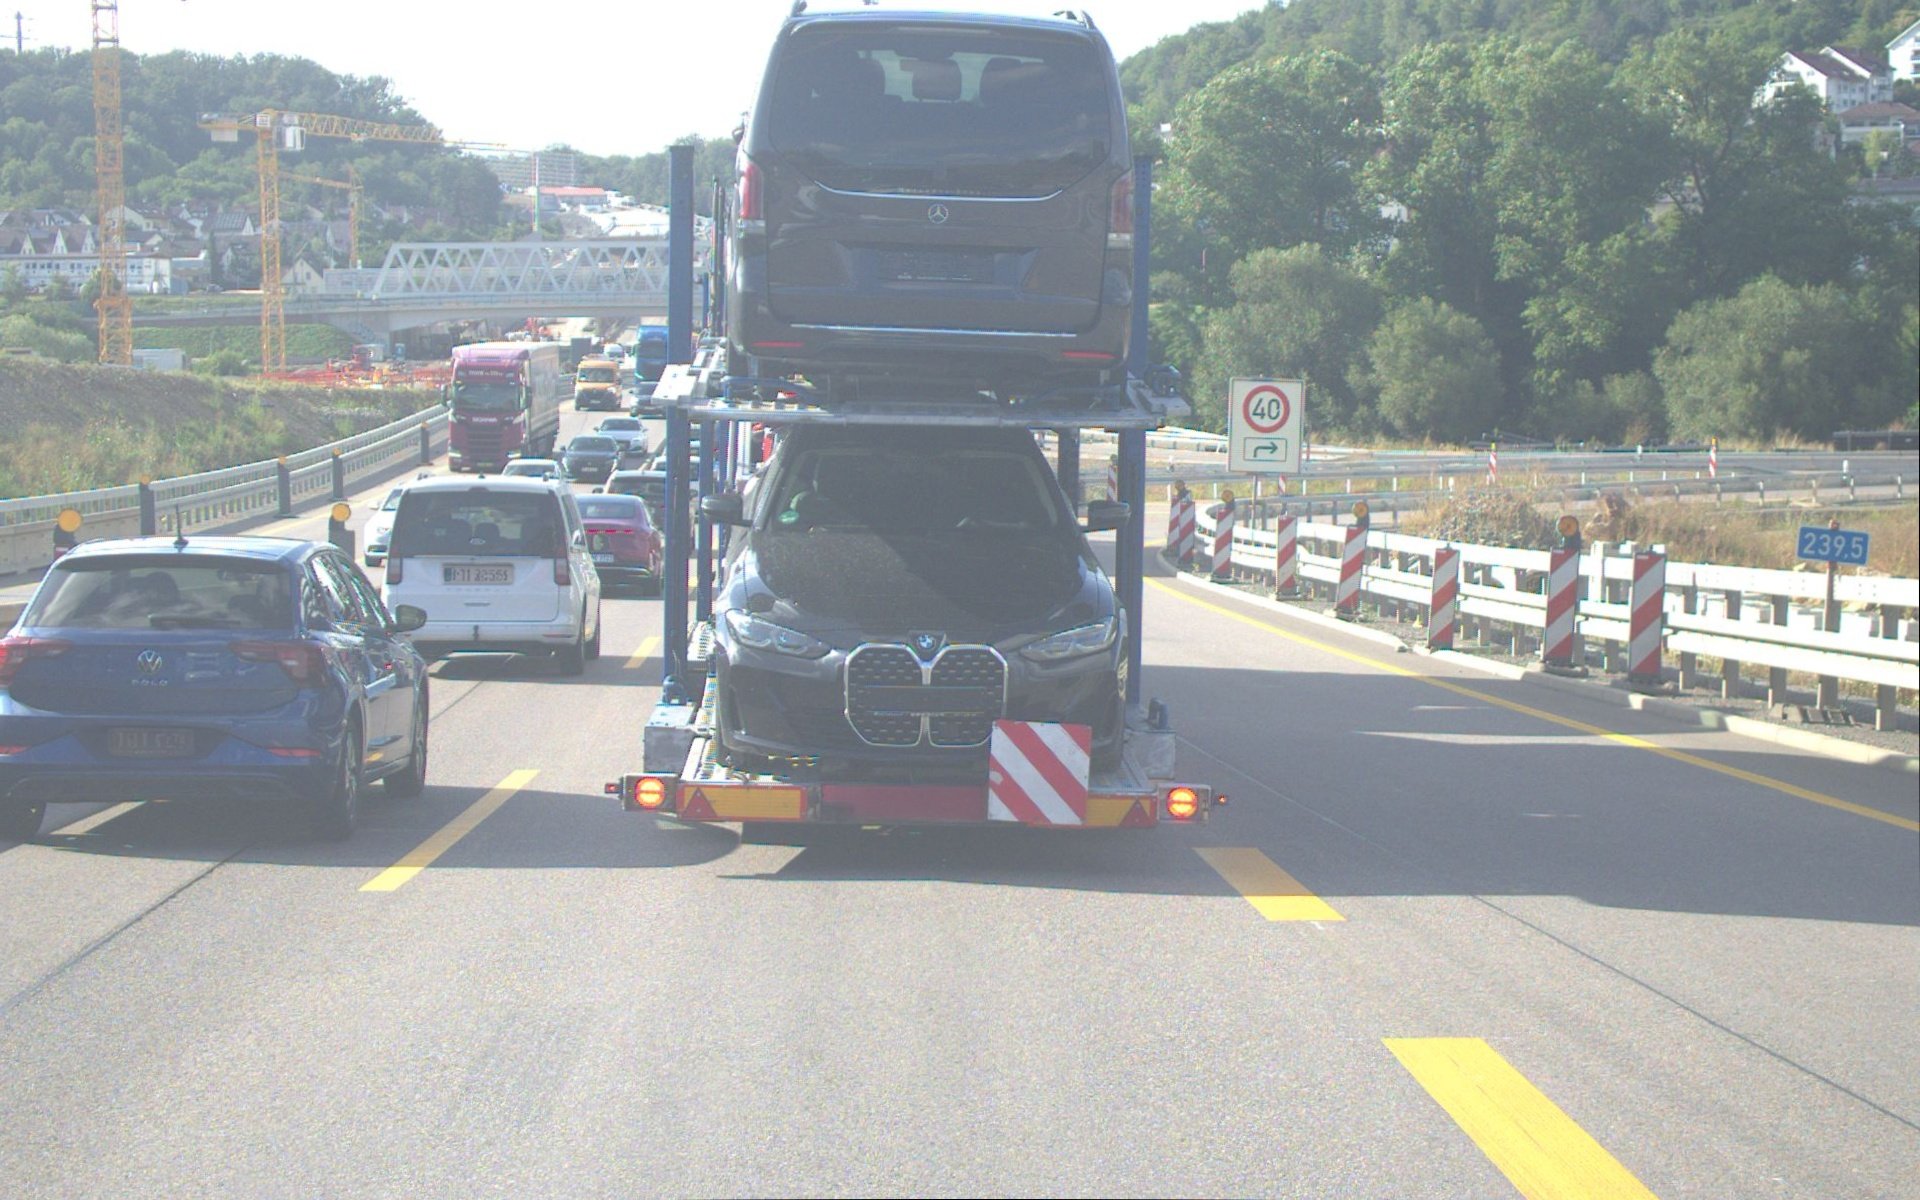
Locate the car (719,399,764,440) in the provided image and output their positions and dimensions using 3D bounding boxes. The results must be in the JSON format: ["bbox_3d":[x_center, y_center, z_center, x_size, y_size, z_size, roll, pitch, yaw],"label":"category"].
[{"bbox_3d":[-9.595,-7.916,150.835,1.844,1.642,4.506,1,2,-5],"label":"car"}]

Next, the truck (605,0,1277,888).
[{"bbox_3d":[-0.523,-1.079,23.849,2.753,3.941,18.893,1,2,-3],"label":"truck"}]

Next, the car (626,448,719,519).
[{"bbox_3d":[-7.022,-2.856,84.240,1.993,1.660,4.001,1,2,-1],"label":"car"}]

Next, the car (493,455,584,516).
[{"bbox_3d":[-10.232,-2.773,83.660,1.754,1.435,3.805,1,2,0],"label":"car"}]

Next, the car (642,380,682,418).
[{"bbox_3d":[-13.844,-9.324,159.710,1.844,1.642,4.237,1,2,-5],"label":"car"}]

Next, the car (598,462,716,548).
[{"bbox_3d":[-5.869,-1.834,66.995,1.993,1.547,4.000,1,0,-1],"label":"car"}]

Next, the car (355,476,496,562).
[{"bbox_3d":[-9.462,-1.449,61.155,1.852,1.435,4.559,1,2,-1],"label":"car"}]

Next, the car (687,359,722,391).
[{"bbox_3d":[-15.540,-13.674,209.201,1.993,1.678,4.000,1,0,-3],"label":"car"}]

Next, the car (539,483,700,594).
[{"bbox_3d":[-5.001,-0.884,51.046,1.993,1.551,4.401,1,0,-1],"label":"car"}]

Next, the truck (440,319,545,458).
[{"bbox_3d":[-15.558,-6.992,114.822,2.914,4.372,6.288,2,2,-4],"label":"truck"}]

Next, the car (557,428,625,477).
[{"bbox_3d":[-11.482,-4.583,107.178,1.821,1.435,4.615,1,2,-3],"label":"car"}]

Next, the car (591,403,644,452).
[{"bbox_3d":[-12.545,-6.307,126.072,1.844,1.642,4.506,1,2,-4],"label":"car"}]

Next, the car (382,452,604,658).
[{"bbox_3d":[-4.342,-0.406,32.433,1.823,1.786,4.001,1,0,-4],"label":"car"}]

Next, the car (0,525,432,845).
[{"bbox_3d":[-3.743,0.363,17.469,1.722,1.417,4.001,1,0,-4],"label":"car"}]

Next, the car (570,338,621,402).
[{"bbox_3d":[-17.896,-11.264,168.993,1.993,2.869,6.065,1,2,-1],"label":"car"}]

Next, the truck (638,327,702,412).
[{"bbox_3d":[-19.091,-15.123,227.090,2.822,4.772,13.054,1,0,1],"label":"truck"}]
